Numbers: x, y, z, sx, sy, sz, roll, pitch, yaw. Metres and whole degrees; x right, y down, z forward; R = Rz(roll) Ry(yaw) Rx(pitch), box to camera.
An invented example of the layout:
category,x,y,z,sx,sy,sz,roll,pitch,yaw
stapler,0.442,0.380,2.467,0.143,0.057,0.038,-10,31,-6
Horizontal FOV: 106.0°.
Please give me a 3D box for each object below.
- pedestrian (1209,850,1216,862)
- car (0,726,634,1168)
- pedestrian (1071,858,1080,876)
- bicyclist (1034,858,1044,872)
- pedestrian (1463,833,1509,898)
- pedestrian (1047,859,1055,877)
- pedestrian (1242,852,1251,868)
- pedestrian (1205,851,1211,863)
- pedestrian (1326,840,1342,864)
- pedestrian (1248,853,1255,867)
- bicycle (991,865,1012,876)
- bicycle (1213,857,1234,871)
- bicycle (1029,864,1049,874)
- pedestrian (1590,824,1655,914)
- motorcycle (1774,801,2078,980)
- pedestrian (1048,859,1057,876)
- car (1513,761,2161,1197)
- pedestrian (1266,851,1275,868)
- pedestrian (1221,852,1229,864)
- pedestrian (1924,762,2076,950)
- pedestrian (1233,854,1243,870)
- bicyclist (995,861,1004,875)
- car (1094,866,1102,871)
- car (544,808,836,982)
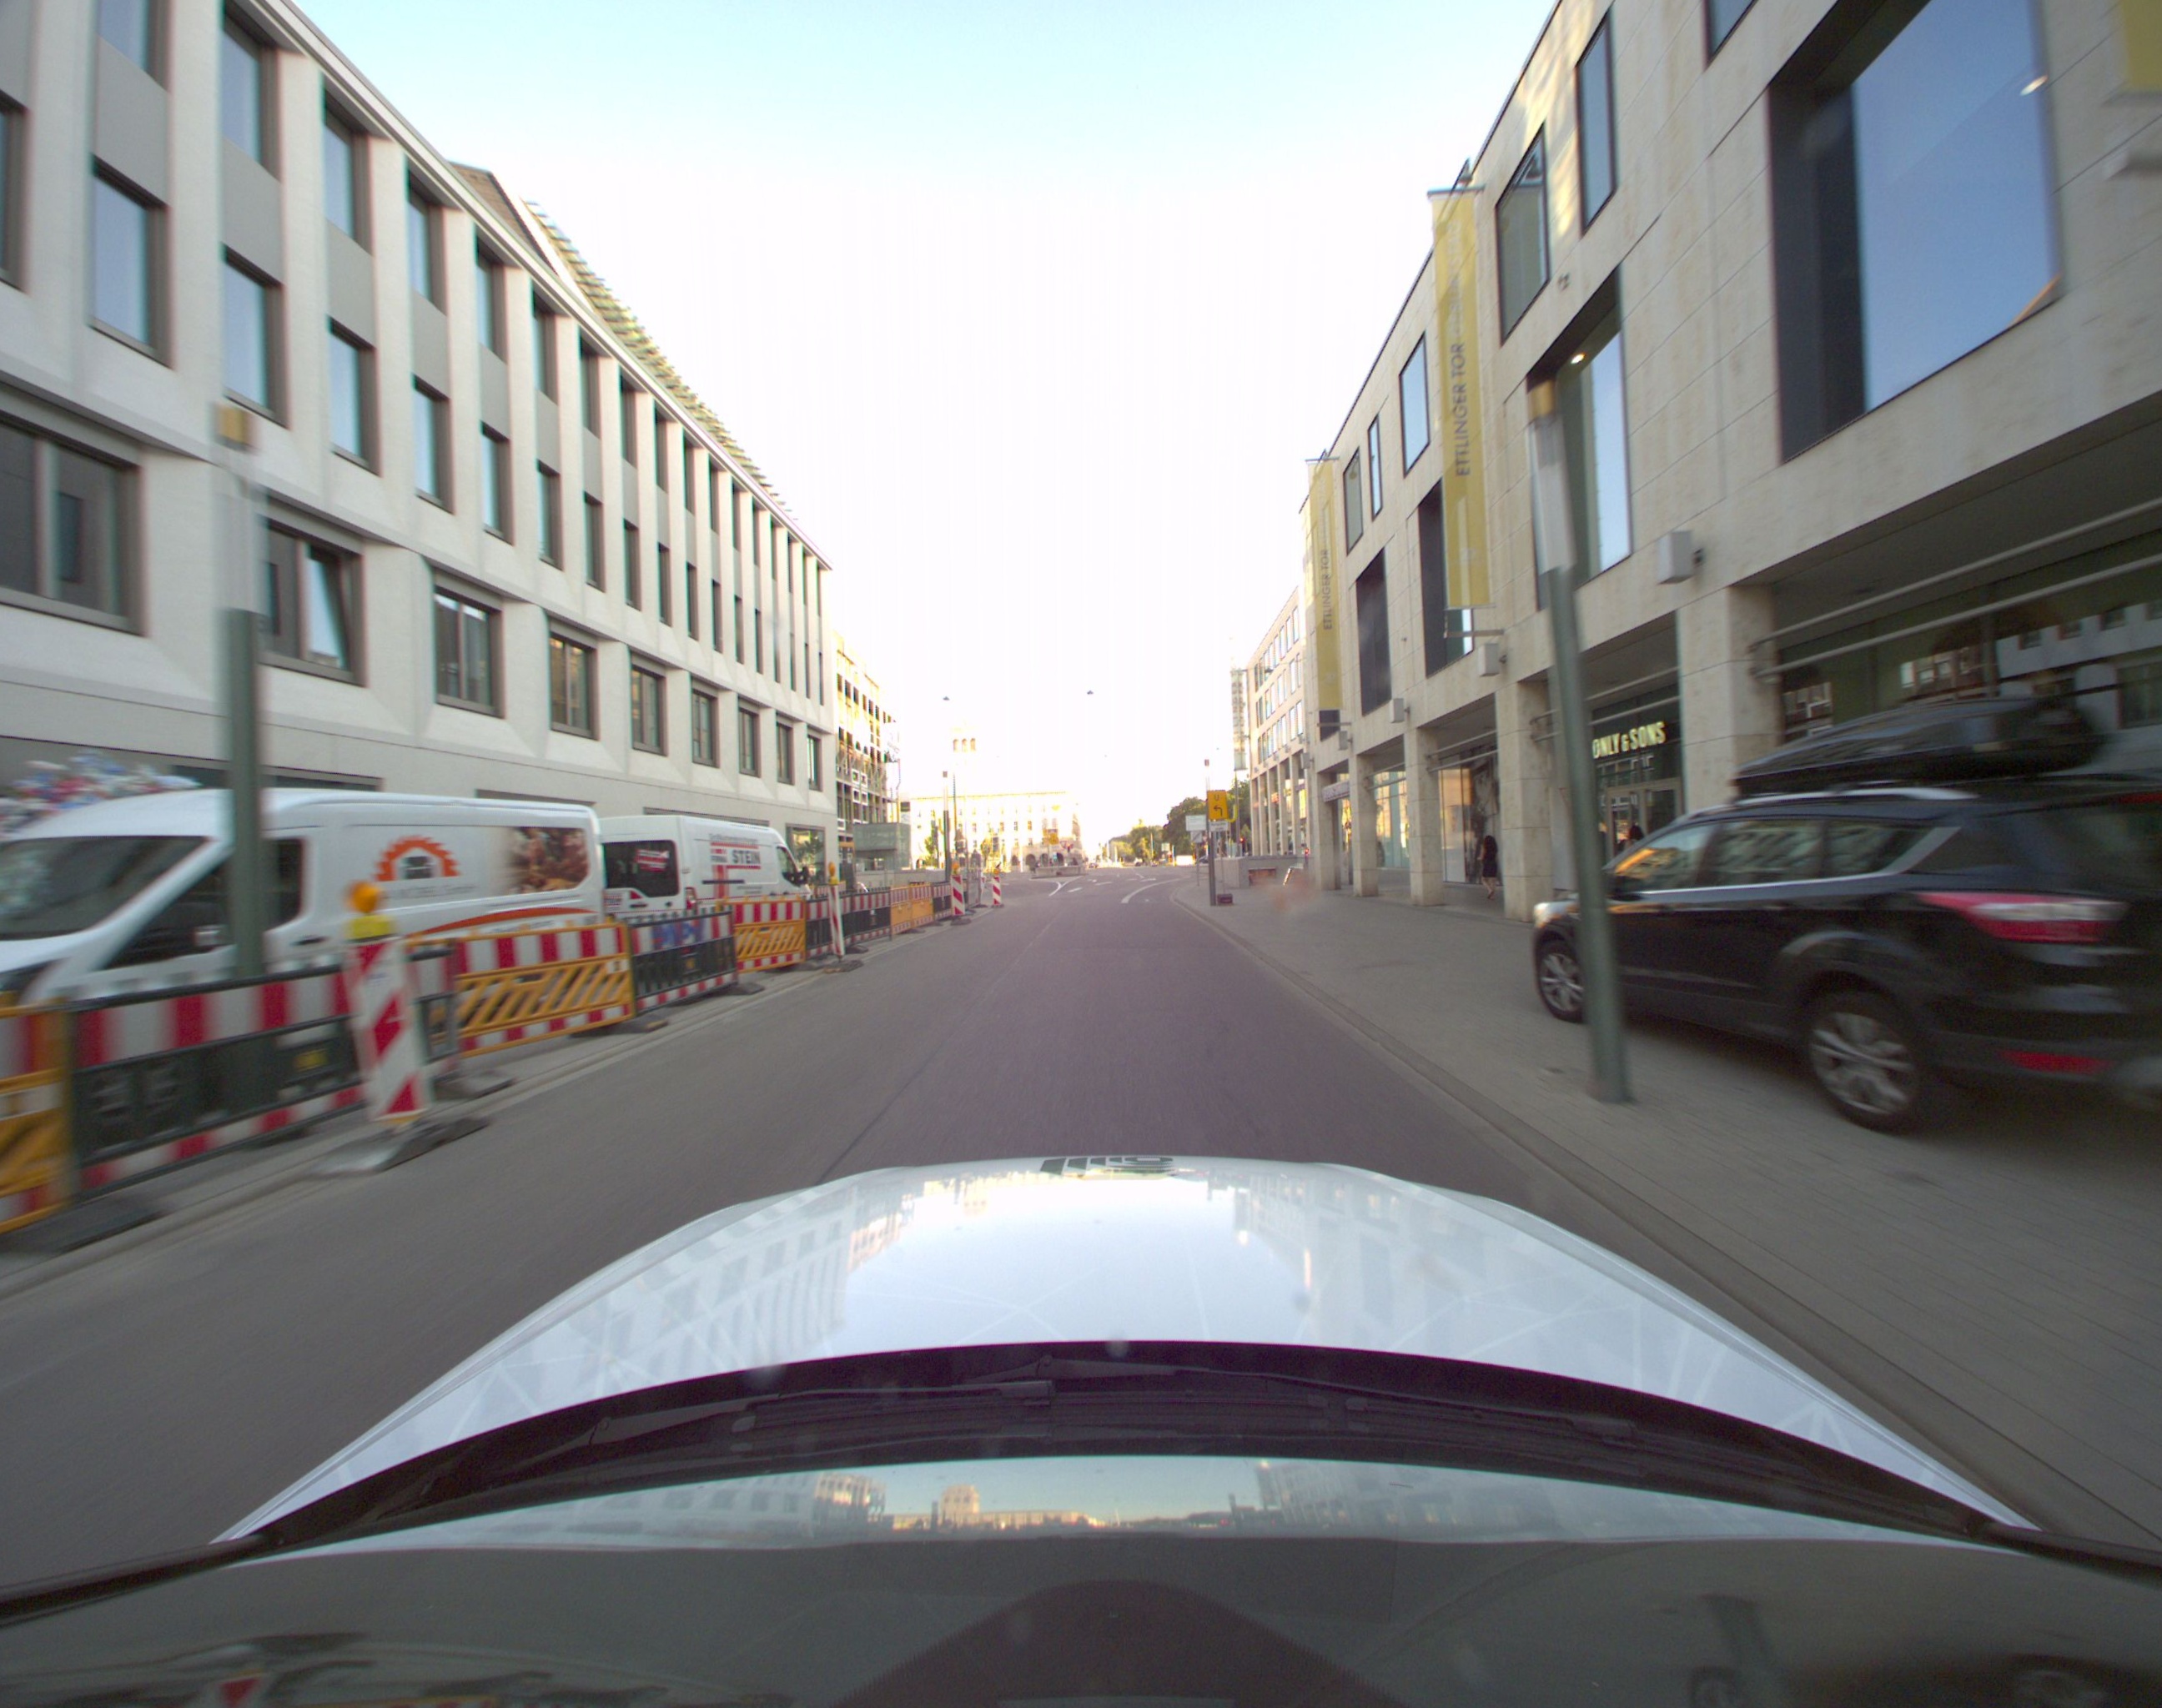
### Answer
category,x,y,z,sx,sy,sz,roll,pitch,yaw
pedestrian,19.575,0.271,120.879,0.808,1.730,0.686,-2,-1,-8
car,-6.992,0.566,7.471,2.165,2.470,6.003,-2,-1,3
pedestrian,-0.539,1.303,83.676,0.737,1.777,0.862,-4,-1,-6
bicyclist,-4.818,1.240,92.629,1.015,1.621,0.654,-2,0,2
pedestrian,9.963,0.280,20.061,0.721,1.542,0.729,-2,-1,2
pedestrian,-3.155,1.475,86.162,0.736,1.777,0.863,-5,-1,0
pedestrian,18.959,0.643,93.359,0.753,1.777,0.741,-5,-1,3
pedestrian,18.769,0.429,120.517,0.805,1.730,0.688,-2,-1,1
pedestrian,19.353,-0.127,62.384,0.857,1.777,0.991,-4,-1,2
pedestrian,20.421,0.712,97.569,0.688,1.730,0.742,-2,-1,4
bicycle,-9.036,1.874,92.028,2.232,1.062,0.654,-2,0,4
bicycle,13.378,0.966,76.490,1.803,1.212,0.573,-2,-1,18
bicycle,-4.747,1.689,92.621,2.233,1.062,0.654,-2,0,2
pedestrian,9.751,0.253,14.697,0.631,1.567,0.775,-2,1,2
motorcycle,7.700,0.299,7.614,0.689,1.416,2.138,-2,-1,5
pedestrian,-3.039,1.453,87.209,0.736,1.777,0.863,-5,-1,0
car,4.674,0.443,5.153,1.761,1.637,4.060,-5,-1,3
pedestrian,20.695,0.572,88.900,0.888,1.840,0.689,-2,-1,6
pedestrian,21.410,0.594,120.967,0.813,1.730,0.681,-2,-1,-28
pedestrian,8.740,0.019,7.773,0.589,1.698,0.696,-2,0,0
pedestrian,18.078,0.951,93.668,0.857,1.777,0.741,-5,-1,3
bicyclist,-9.190,1.547,92.039,0.875,1.531,0.654,-2,0,4
car,5.422,4.583,258.441,1.984,1.519,4.005,-2,0,4
car,-6.634,0.619,14.921,2.165,2.470,6.002,-2,-1,2
